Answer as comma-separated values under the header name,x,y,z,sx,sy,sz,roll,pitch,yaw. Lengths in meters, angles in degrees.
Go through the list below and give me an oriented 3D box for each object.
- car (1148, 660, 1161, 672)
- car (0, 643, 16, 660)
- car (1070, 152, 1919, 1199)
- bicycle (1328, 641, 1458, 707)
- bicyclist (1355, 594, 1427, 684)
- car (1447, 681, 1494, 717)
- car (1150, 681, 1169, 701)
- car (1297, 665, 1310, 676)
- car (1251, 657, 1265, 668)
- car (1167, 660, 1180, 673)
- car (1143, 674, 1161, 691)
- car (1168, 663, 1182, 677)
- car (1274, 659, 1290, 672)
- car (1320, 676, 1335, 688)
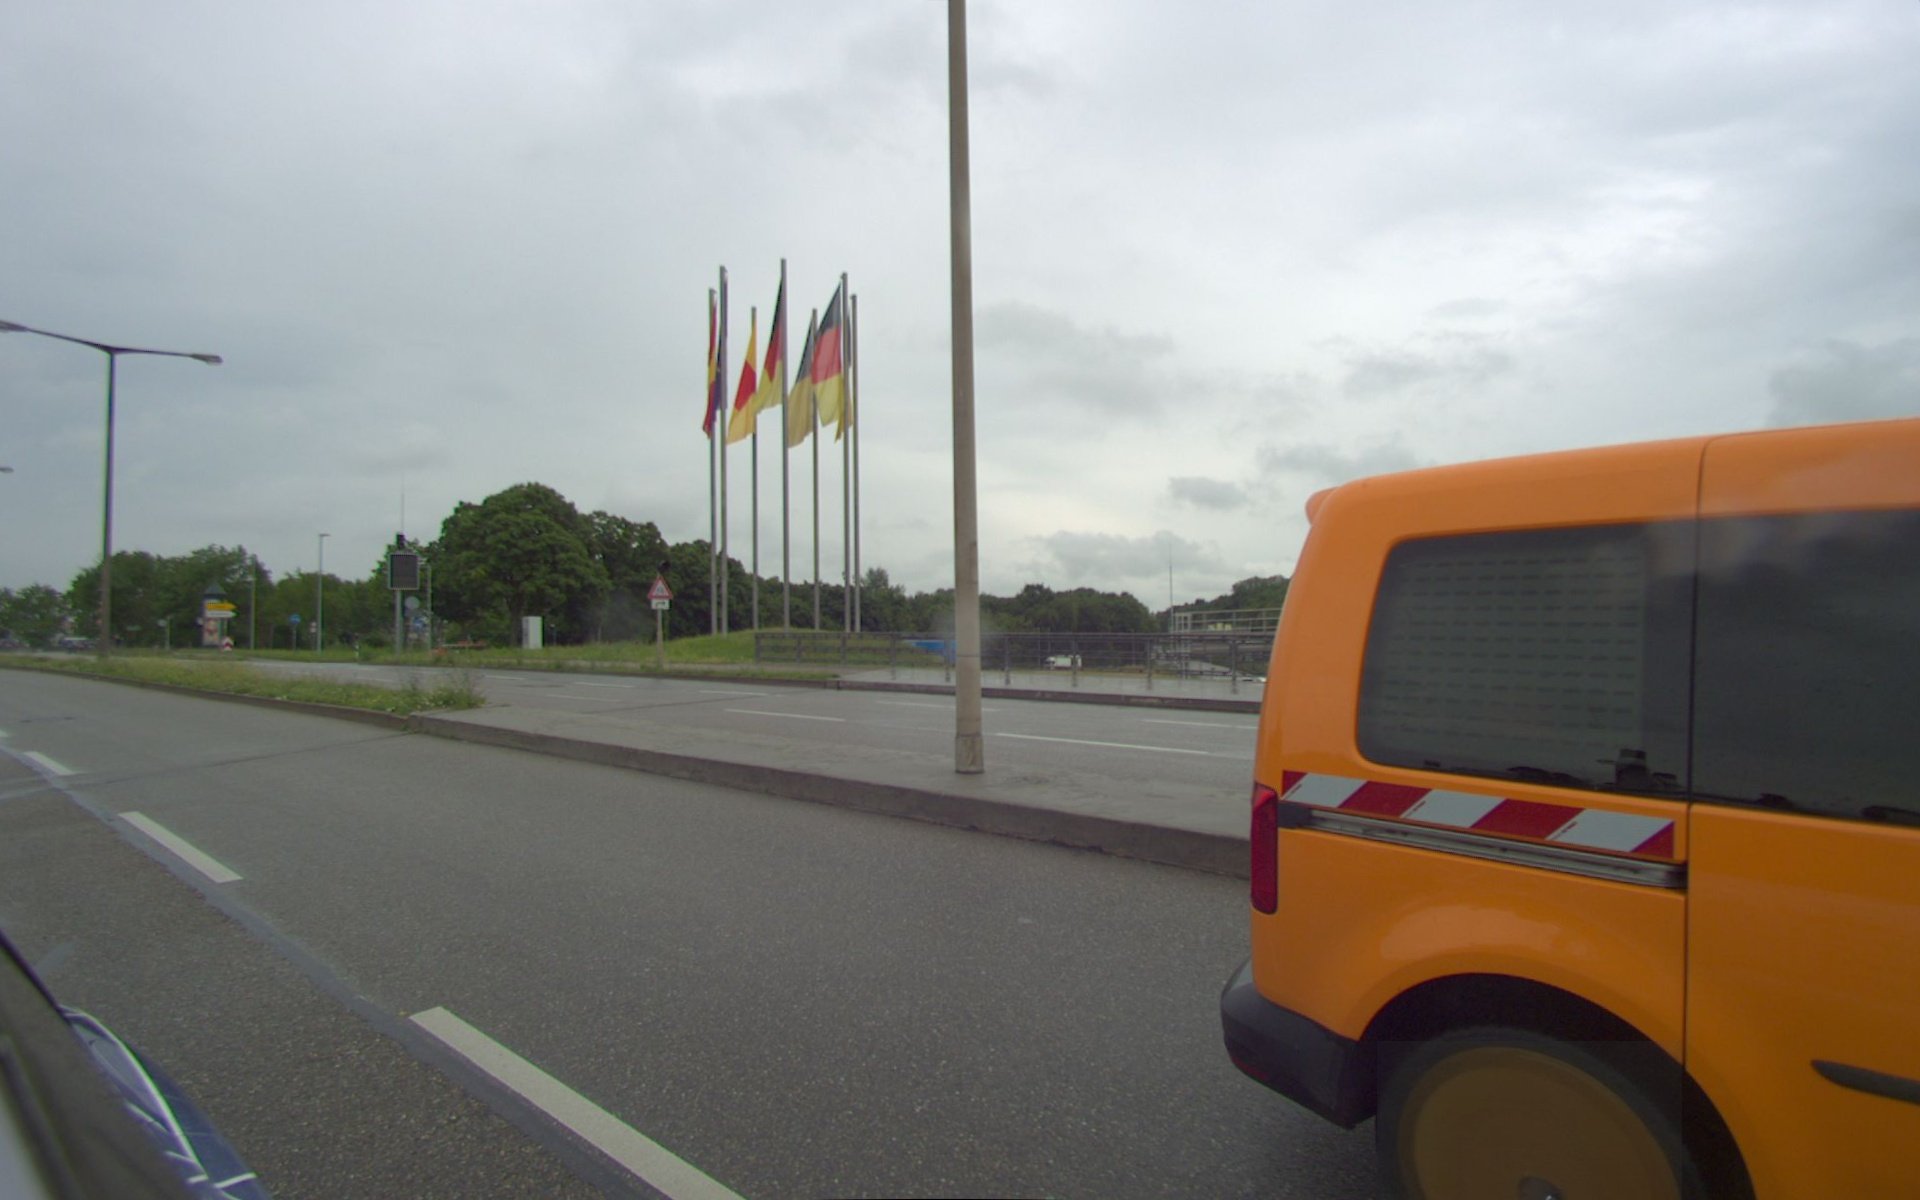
name,x,y,z,sx,sy,sz,roll,pitch,yaw
car,45.254,15.384,235.930,2.708,2.552,5.787,-2,-1,13
car,-104.873,5.608,110.581,4.024,1.764,1.828,-2,-1,37
car,2.652,0.342,1.607,4.847,2.034,1.716,0,0,41
bicycle,7.587,1.267,17.786,2.000,1.041,0.603,-1,0,41
bicyclist,7.570,0.666,17.777,1.002,1.511,0.613,-1,0,41
car,46.607,9.008,92.556,2.712,2.792,5.778,-2,-1,17
car,30.954,14.054,156.886,2.708,2.552,5.787,-2,-1,13
car,64.398,13.283,189.851,1.981,1.794,3.981,-2,-1,15
car,72.574,15.234,246.622,2.708,2.552,5.787,-2,-1,13
car,49.432,15.372,234.550,2.708,2.552,5.787,-2,-1,13
car,32.642,14.015,172.245,2.708,2.552,5.787,-2,-1,13
car,46.500,15.126,218.632,2.708,2.552,5.787,-2,-1,13
car,68.809,13.982,216.439,2.708,2.552,5.787,-2,-1,13
car,60.007,13.370,165.331,1.981,1.794,3.981,-2,-1,15
